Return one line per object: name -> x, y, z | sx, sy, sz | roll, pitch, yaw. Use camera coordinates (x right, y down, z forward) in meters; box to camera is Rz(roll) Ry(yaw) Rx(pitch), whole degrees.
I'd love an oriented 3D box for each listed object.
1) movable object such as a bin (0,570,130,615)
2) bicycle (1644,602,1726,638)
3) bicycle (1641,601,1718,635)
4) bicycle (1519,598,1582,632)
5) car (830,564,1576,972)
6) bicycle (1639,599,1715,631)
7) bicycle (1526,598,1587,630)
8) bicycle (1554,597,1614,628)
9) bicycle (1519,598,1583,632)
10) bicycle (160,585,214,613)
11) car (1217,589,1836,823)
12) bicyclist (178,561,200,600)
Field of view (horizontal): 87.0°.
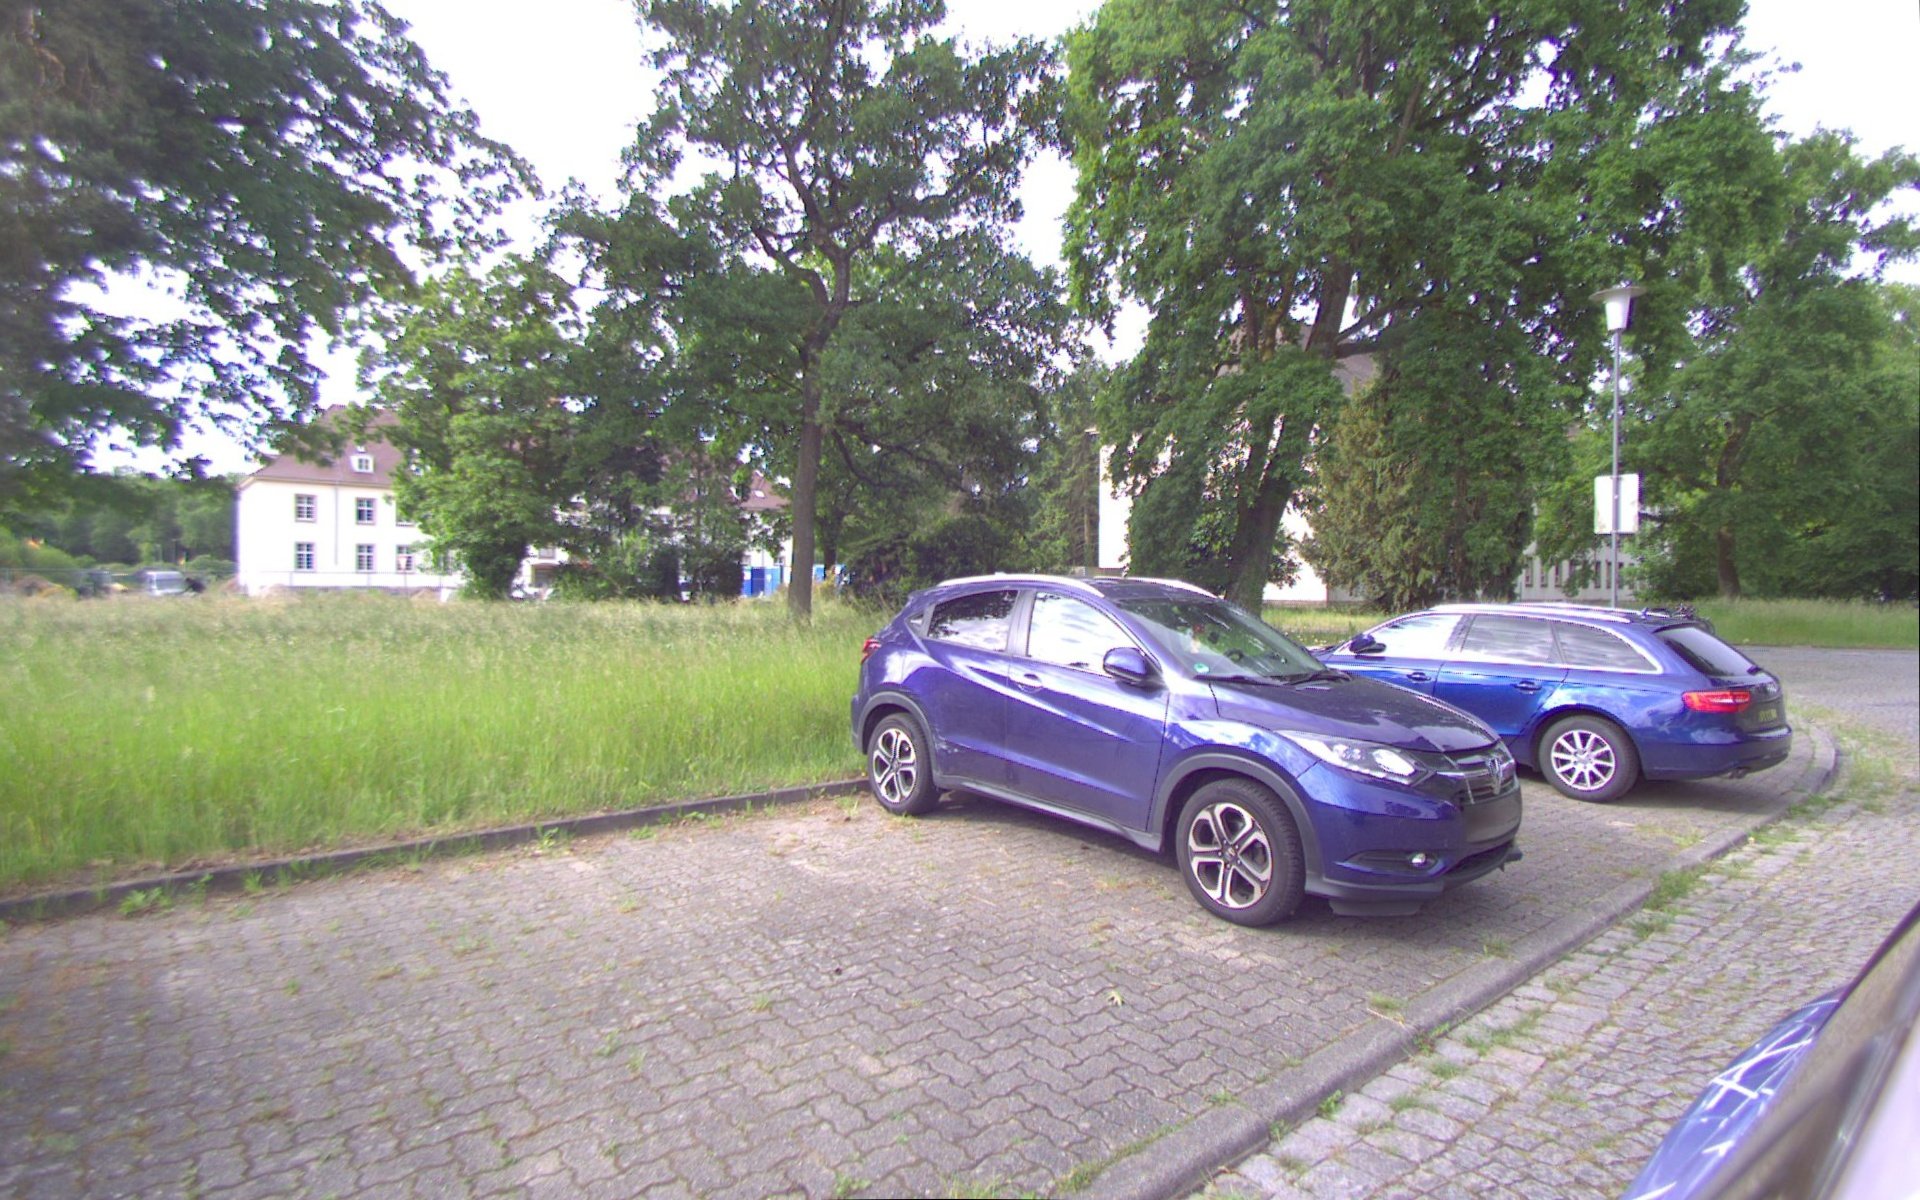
movable object such as a bin -> -54.722, -0.455, 61.792 | 5.852, 2.688, 2.180 | 0, 0, -21
bicycle -> 22.500, 0.625, 31.441 | 1.951, 1.090, 0.584 | 0, 0, 23
bicycle -> 23.340, 0.575, 32.857 | 1.951, 1.090, 0.584 | 0, 0, 23
bicycle -> 20.484, 0.504, 35.132 | 1.839, 1.137, 0.616 | 0, 0, 27
car -> 1.093, 0.601, 6.114 | 1.762, 1.591, 4.170 | -1, 2, -40
bicycle -> 24.529, 0.505, 34.659 | 2.010, 1.090, 0.616 | 0, 0, 27
bicycle -> 21.482, 0.487, 36.479 | 1.839, 1.137, 0.616 | 0, 0, 27
bicycle -> 23.257, 0.454, 37.756 | 1.839, 1.137, 0.616 | 0, 0, 27
bicycle -> 20.161, 0.510, 34.584 | 1.839, 1.137, 0.616 | 0, 0, 27
bicycle -> -35.126, -0.058, 45.978 | 1.899, 1.244, 0.724 | -1, 0, -42
car -> 4.669, 0.682, 9.032 | 1.752, 1.439, 4.483 | 0, 2, -37
bicyclist -> -35.103, -0.885, 46.066 | 0.759, 1.717, 0.726 | 0, 0, -43
